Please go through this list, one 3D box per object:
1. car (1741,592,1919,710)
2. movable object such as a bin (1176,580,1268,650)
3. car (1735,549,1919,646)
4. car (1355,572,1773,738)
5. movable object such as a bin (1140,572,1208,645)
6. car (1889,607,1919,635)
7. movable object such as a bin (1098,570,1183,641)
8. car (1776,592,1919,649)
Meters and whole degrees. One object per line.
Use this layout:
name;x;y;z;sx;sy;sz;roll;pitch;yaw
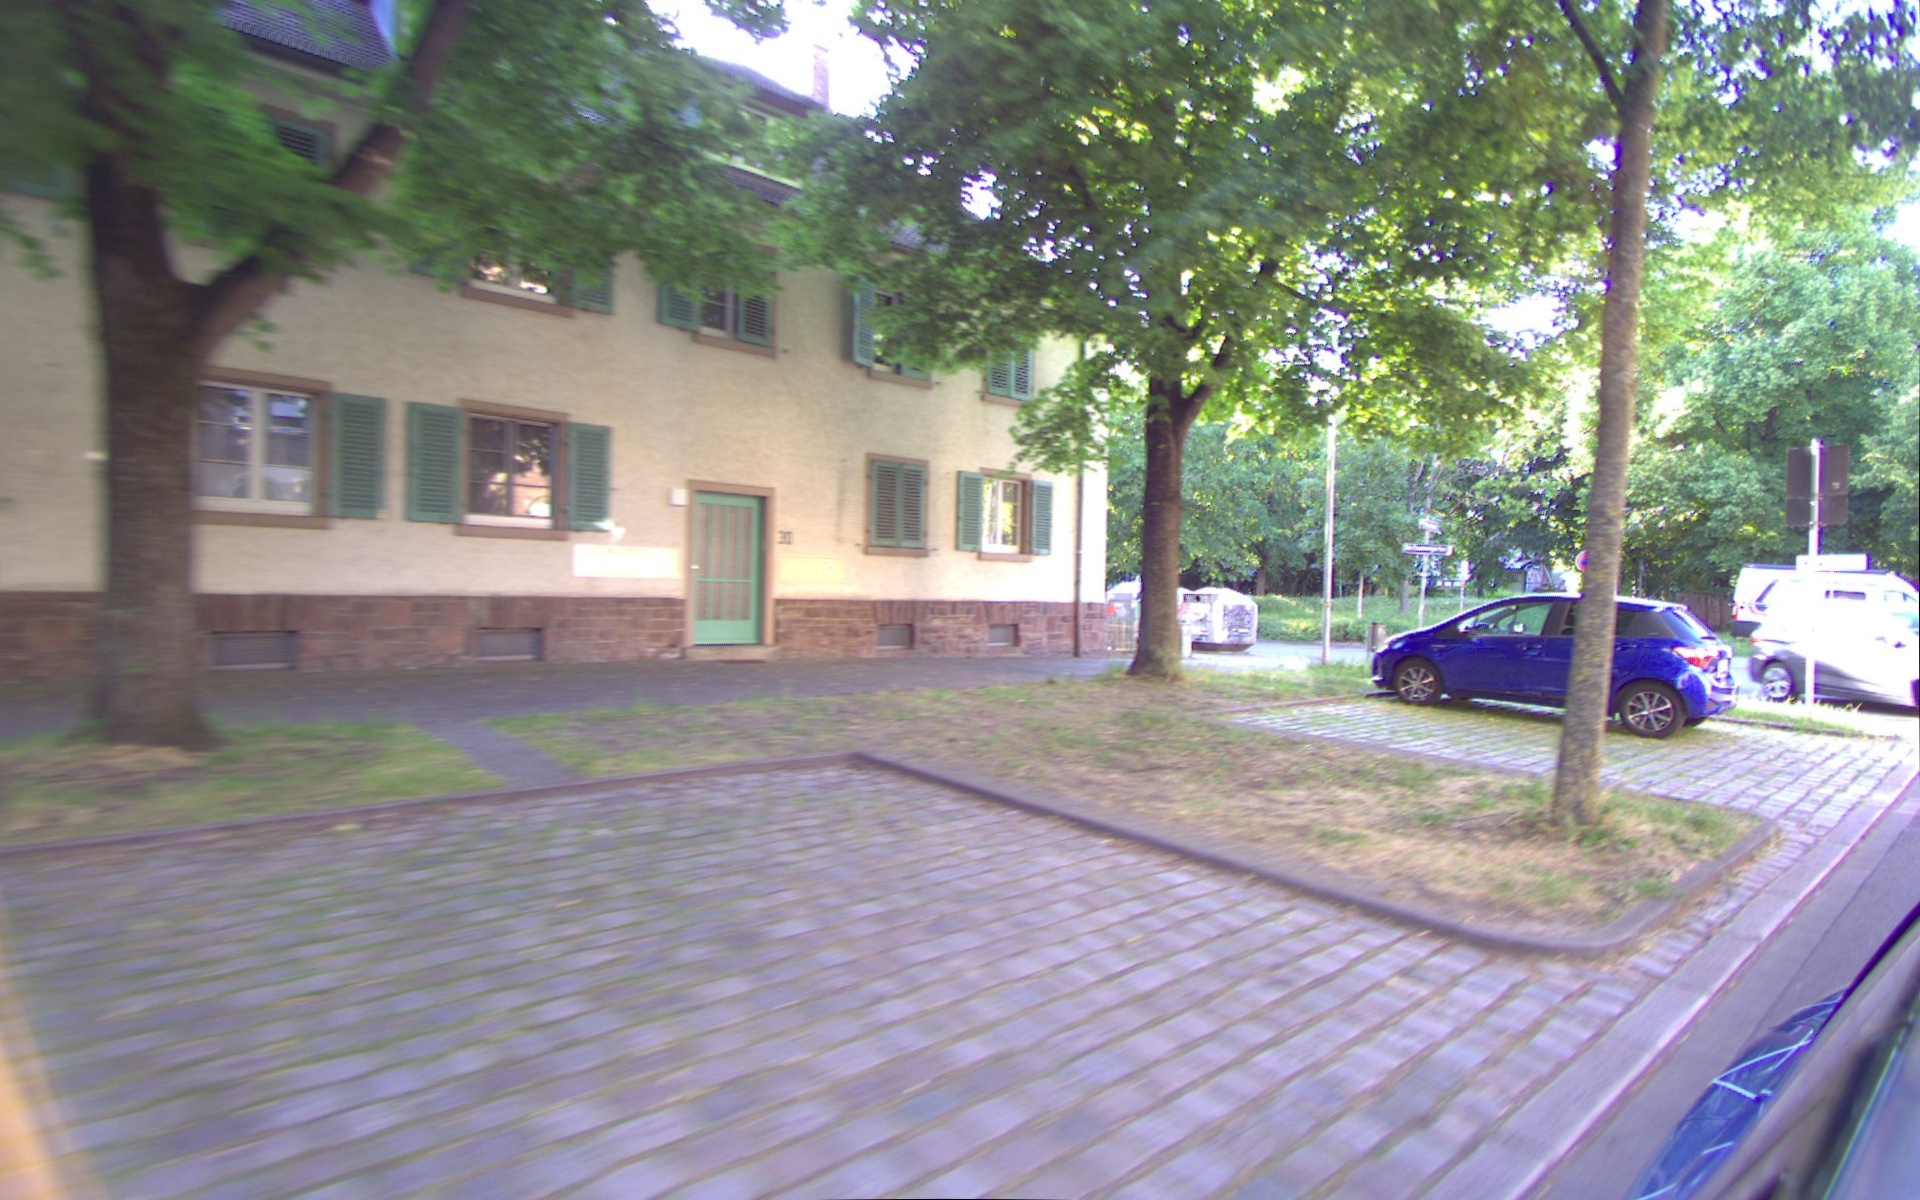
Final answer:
car;14.236;0.707;14.968;1.855;1.642;4.617;0;0;1
movable object such as a bin;6.626;0.343;25.618;1.561;1.678;1.640;-1;1;-34
car;25.958;-0.114;29.029;2.201;2.646;5.621;-1;2;-42
car;7.234;0.498;12.395;1.967;1.574;3.992;-1;3;-43
movable object such as a bin;5.673;0.196;26.885;1.129;1.850;1.387;-1;1;-34
car;47.083;1.022;48.317;1.755;1.272;3.873;-1;2;-42
movable object such as a bin;5.027;0.119;28.184;1.890;1.876;1.394;-1;1;-34
car;27.833;0.595;30.920;1.945;1.594;4.291;-1;2;-42
